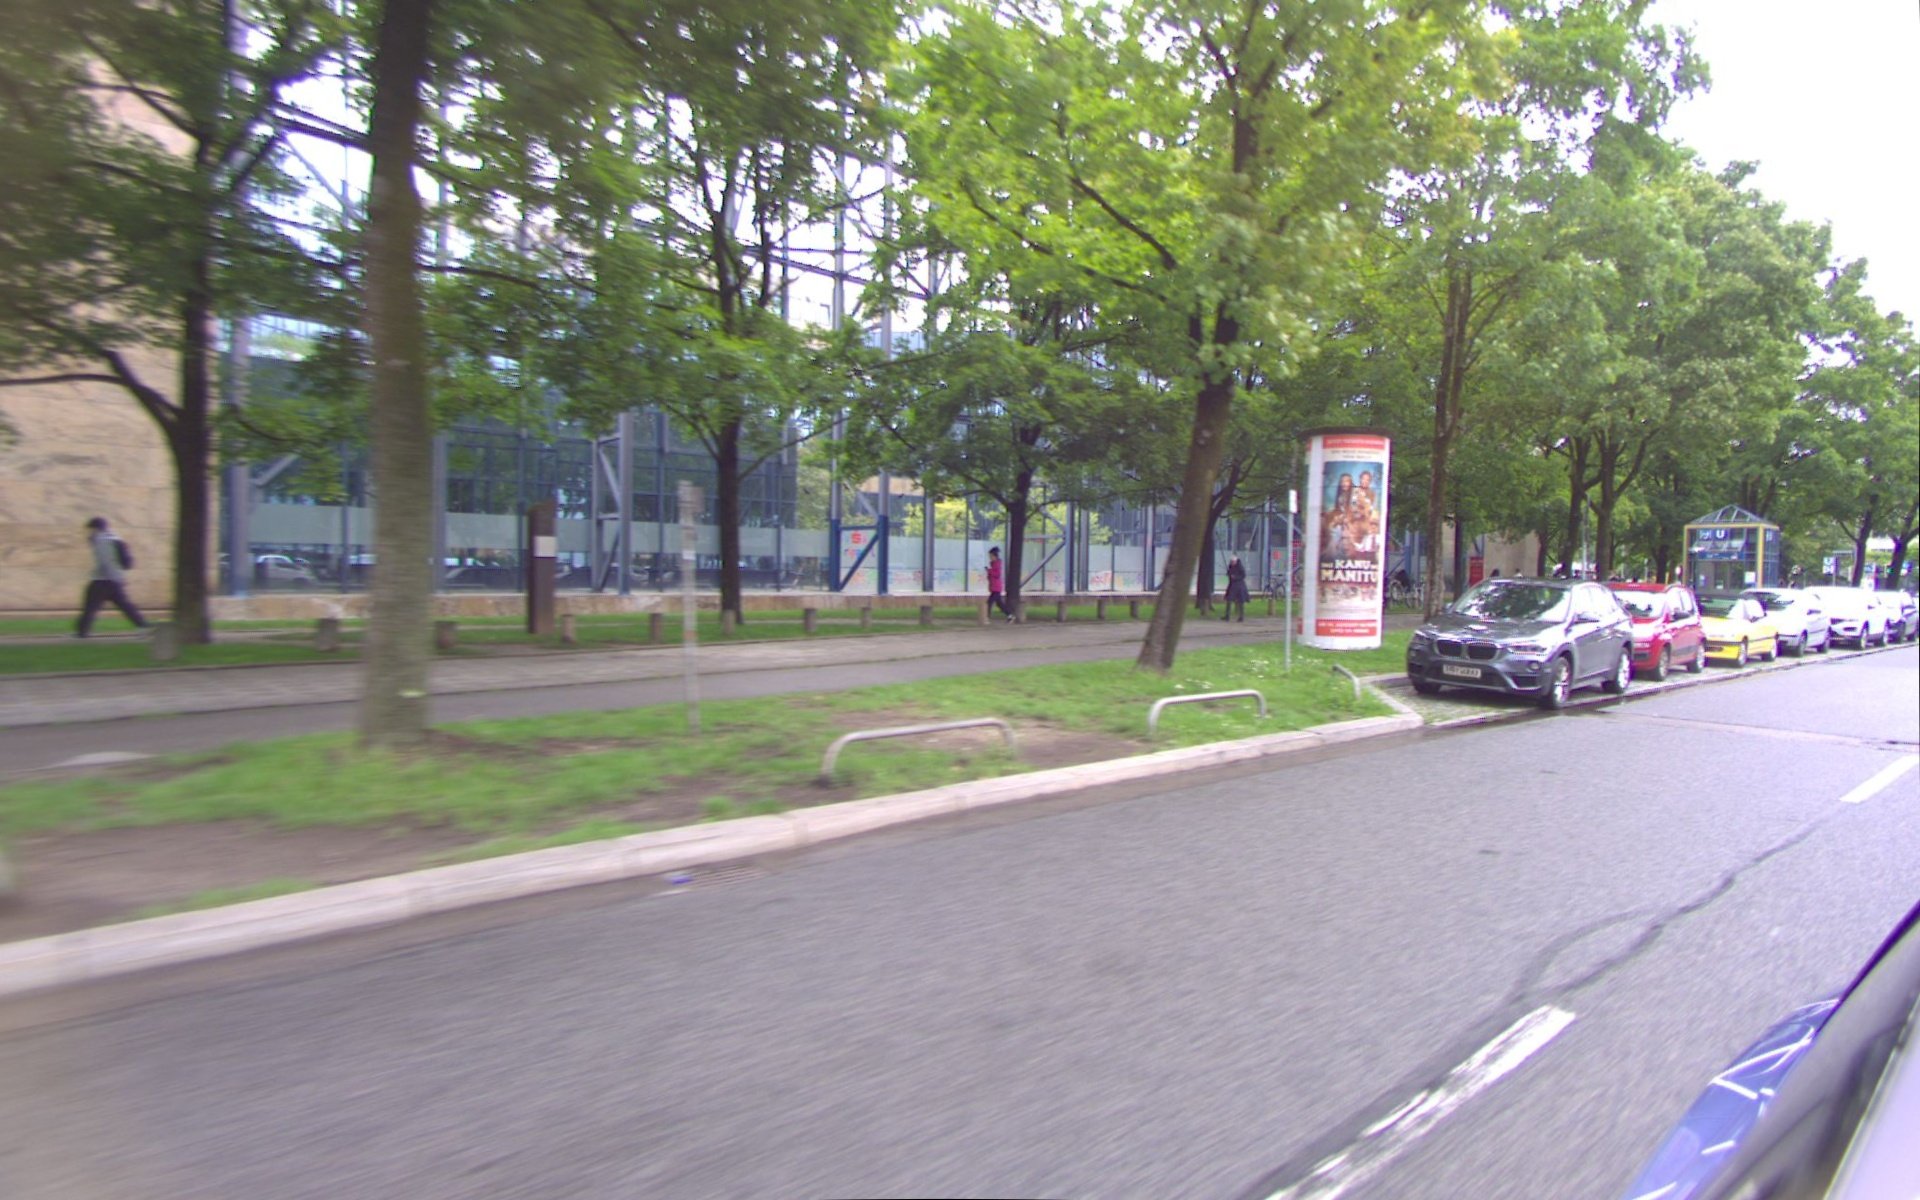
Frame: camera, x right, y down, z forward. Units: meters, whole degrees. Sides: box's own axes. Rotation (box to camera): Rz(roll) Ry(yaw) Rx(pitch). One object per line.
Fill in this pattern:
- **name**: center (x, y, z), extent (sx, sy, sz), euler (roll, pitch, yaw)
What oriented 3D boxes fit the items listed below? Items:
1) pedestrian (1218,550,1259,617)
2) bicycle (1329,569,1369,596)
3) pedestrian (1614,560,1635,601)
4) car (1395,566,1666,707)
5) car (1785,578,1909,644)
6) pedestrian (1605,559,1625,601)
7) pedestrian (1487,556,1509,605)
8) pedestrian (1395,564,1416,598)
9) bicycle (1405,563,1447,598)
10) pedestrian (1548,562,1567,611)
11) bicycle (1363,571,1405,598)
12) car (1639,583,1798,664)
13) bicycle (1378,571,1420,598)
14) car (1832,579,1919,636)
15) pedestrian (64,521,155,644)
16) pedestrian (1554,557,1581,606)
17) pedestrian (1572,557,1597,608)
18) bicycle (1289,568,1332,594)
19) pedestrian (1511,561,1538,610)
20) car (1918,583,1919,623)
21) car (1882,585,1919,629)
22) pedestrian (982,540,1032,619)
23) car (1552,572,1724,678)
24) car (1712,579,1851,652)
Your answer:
- **pedestrian**: center (7.096, -0.426, 25.793), extent (0.632, 1.665, 0.740), euler (-1, 4, -32)
- **bicycle**: center (14.304, -0.644, 37.173), extent (1.731, 0.952, 0.618), euler (-1, 2, -41)
- **pedestrian**: center (28.489, -0.850, 43.385), extent (0.550, 1.743, 0.527), euler (-2, 5, -43)
- **car**: center (8.000, 0.373, 14.005), extent (4.524, 1.610, 1.864), euler (-1, 3, -42)
- **car**: center (23.061, 0.218, 26.279), extent (4.021, 1.550, 1.683), euler (-1, 3, -38)
- **pedestrian**: center (27.910, -0.848, 43.100), extent (0.550, 1.743, 0.527), euler (-2, 5, -43)
- **pedestrian**: center (18.720, -0.688, 35.226), extent (0.419, 1.647, 0.506), euler (-2, 4, -43)
- **pedestrian**: center (15.893, -0.676, 36.117), extent (0.419, 1.193, 0.507), euler (-1, 4, -39)
- **bicycle**: center (16.684, -0.700, 36.182), extent (2.104, 1.207, 0.512), euler (-2, 3, -41)
- **pedestrian**: center (20.764, -0.472, 35.180), extent (0.344, 1.710, 0.432), euler (-1, 2, -43)
- **bicycle**: center (15.588, -0.579, 37.178), extent (2.104, 0.952, 0.512), euler (-1, 2, -41)
- **car**: center (15.159, 0.387, 20.150), extent (4.121, 1.398, 1.626), euler (-1, 3, -41)
- **bicycle**: center (15.983, -0.579, 36.813), extent (2.104, 0.952, 0.512), euler (-1, 2, -41)
- **car**: center (27.013, 0.176, 29.507), extent (3.667, 1.524, 1.683), euler (-1, 3, -38)
- **pedestrian**: center (-11.931, -0.250, 14.221), extent (0.861, 1.666, 0.573), euler (0, 2, -27)
- **pedestrian**: center (21.753, -0.687, 36.251), extent (0.602, 1.710, 0.612), euler (-2, 5, -43)
- **pedestrian**: center (22.104, -0.634, 35.810), extent (0.649, 1.743, 0.527), euler (-2, 5, -43)
- **bicycle**: center (13.030, -0.720, 37.575), extent (2.028, 0.952, 0.571), euler (-2, 3, -41)
- **pedestrian**: center (19.352, -0.510, 34.676), extent (0.426, 1.661, 0.613), euler (-1, 4, -37)
- **car**: center (35.695, 0.110, 36.165), extent (3.667, 1.420, 1.590), euler (-1, 3, -38)
- **car**: center (31.329, 0.211, 32.769), extent (3.667, 1.333, 1.590), euler (-1, 3, -38)
- **pedestrian**: center (1.017, -0.448, 22.003), extent (0.845, 1.665, 0.741), euler (0, 4, -19)
- **car**: center (11.572, 0.341, 17.198), extent (3.562, 1.592, 1.554), euler (-1, 3, -41)
- **car**: center (18.819, 0.283, 23.136), extent (3.824, 1.492, 1.627), euler (-1, 3, -38)
